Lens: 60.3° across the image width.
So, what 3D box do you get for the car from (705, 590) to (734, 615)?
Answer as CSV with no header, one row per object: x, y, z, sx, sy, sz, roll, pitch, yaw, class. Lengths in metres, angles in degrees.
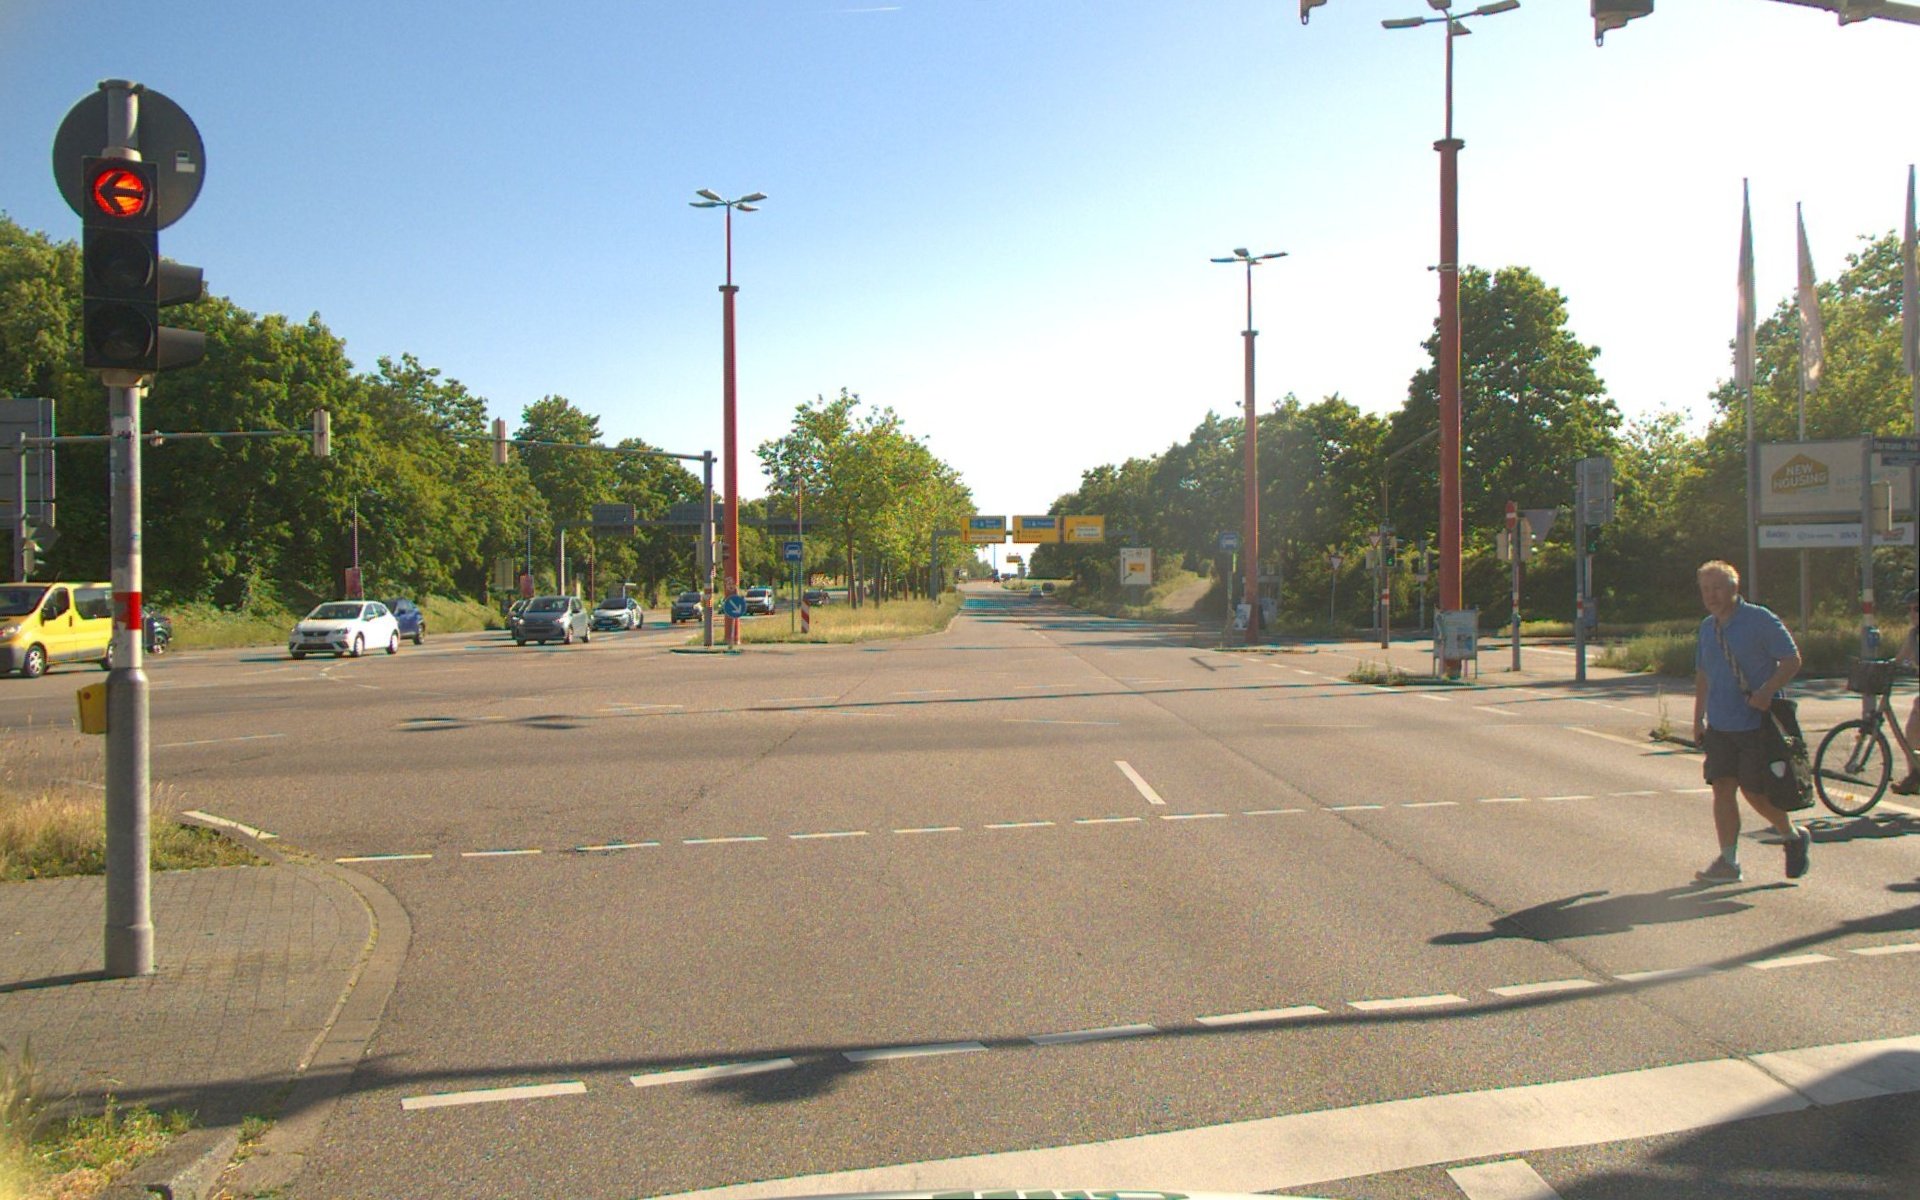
-19.682,0.202,135.539,1.963,2.049,3.998,1,0,-2,car

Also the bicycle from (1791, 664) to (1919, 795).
7.288,0.937,12.317,2.125,0.894,0.558,0,0,-14,bicycle

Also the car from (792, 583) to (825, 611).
-9.717,-0.165,106.454,1.622,1.778,4.001,1,0,2,car

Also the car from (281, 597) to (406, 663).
-16.141,0.760,43.523,1.668,1.624,4.001,1,0,2,car

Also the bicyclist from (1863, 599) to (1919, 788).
7.272,0.678,12.274,0.726,1.365,0.706,0,0,-11,bicyclist

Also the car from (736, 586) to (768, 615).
-15.159,0.043,120.850,1.963,2.049,3.998,1,0,-2,car

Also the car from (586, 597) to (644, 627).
-15.860,0.551,76.178,1.963,1.330,3.998,0,0,-2,car

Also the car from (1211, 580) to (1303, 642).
9.688,0.341,53.752,1.954,1.920,3.996,0,0,26,car

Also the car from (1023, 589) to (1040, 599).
9.357,-0.791,216.334,2.012,1.395,4.391,0,0,-1,car

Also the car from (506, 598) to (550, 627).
-22.839,0.654,87.534,1.500,1.475,3.703,1,0,-2,car

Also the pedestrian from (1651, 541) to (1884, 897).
4.438,0.607,9.099,0.886,1.820,0.886,0,0,-42,pedestrian

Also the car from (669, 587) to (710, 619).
-15.486,0.177,94.724,1.592,1.769,4.001,0,0,1,car

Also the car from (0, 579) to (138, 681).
-19.747,0.604,35.499,1.721,2.022,4.789,1,0,1,car

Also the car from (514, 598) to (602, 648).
-12.559,0.702,51.871,1.666,1.446,4.000,3,0,1,car
